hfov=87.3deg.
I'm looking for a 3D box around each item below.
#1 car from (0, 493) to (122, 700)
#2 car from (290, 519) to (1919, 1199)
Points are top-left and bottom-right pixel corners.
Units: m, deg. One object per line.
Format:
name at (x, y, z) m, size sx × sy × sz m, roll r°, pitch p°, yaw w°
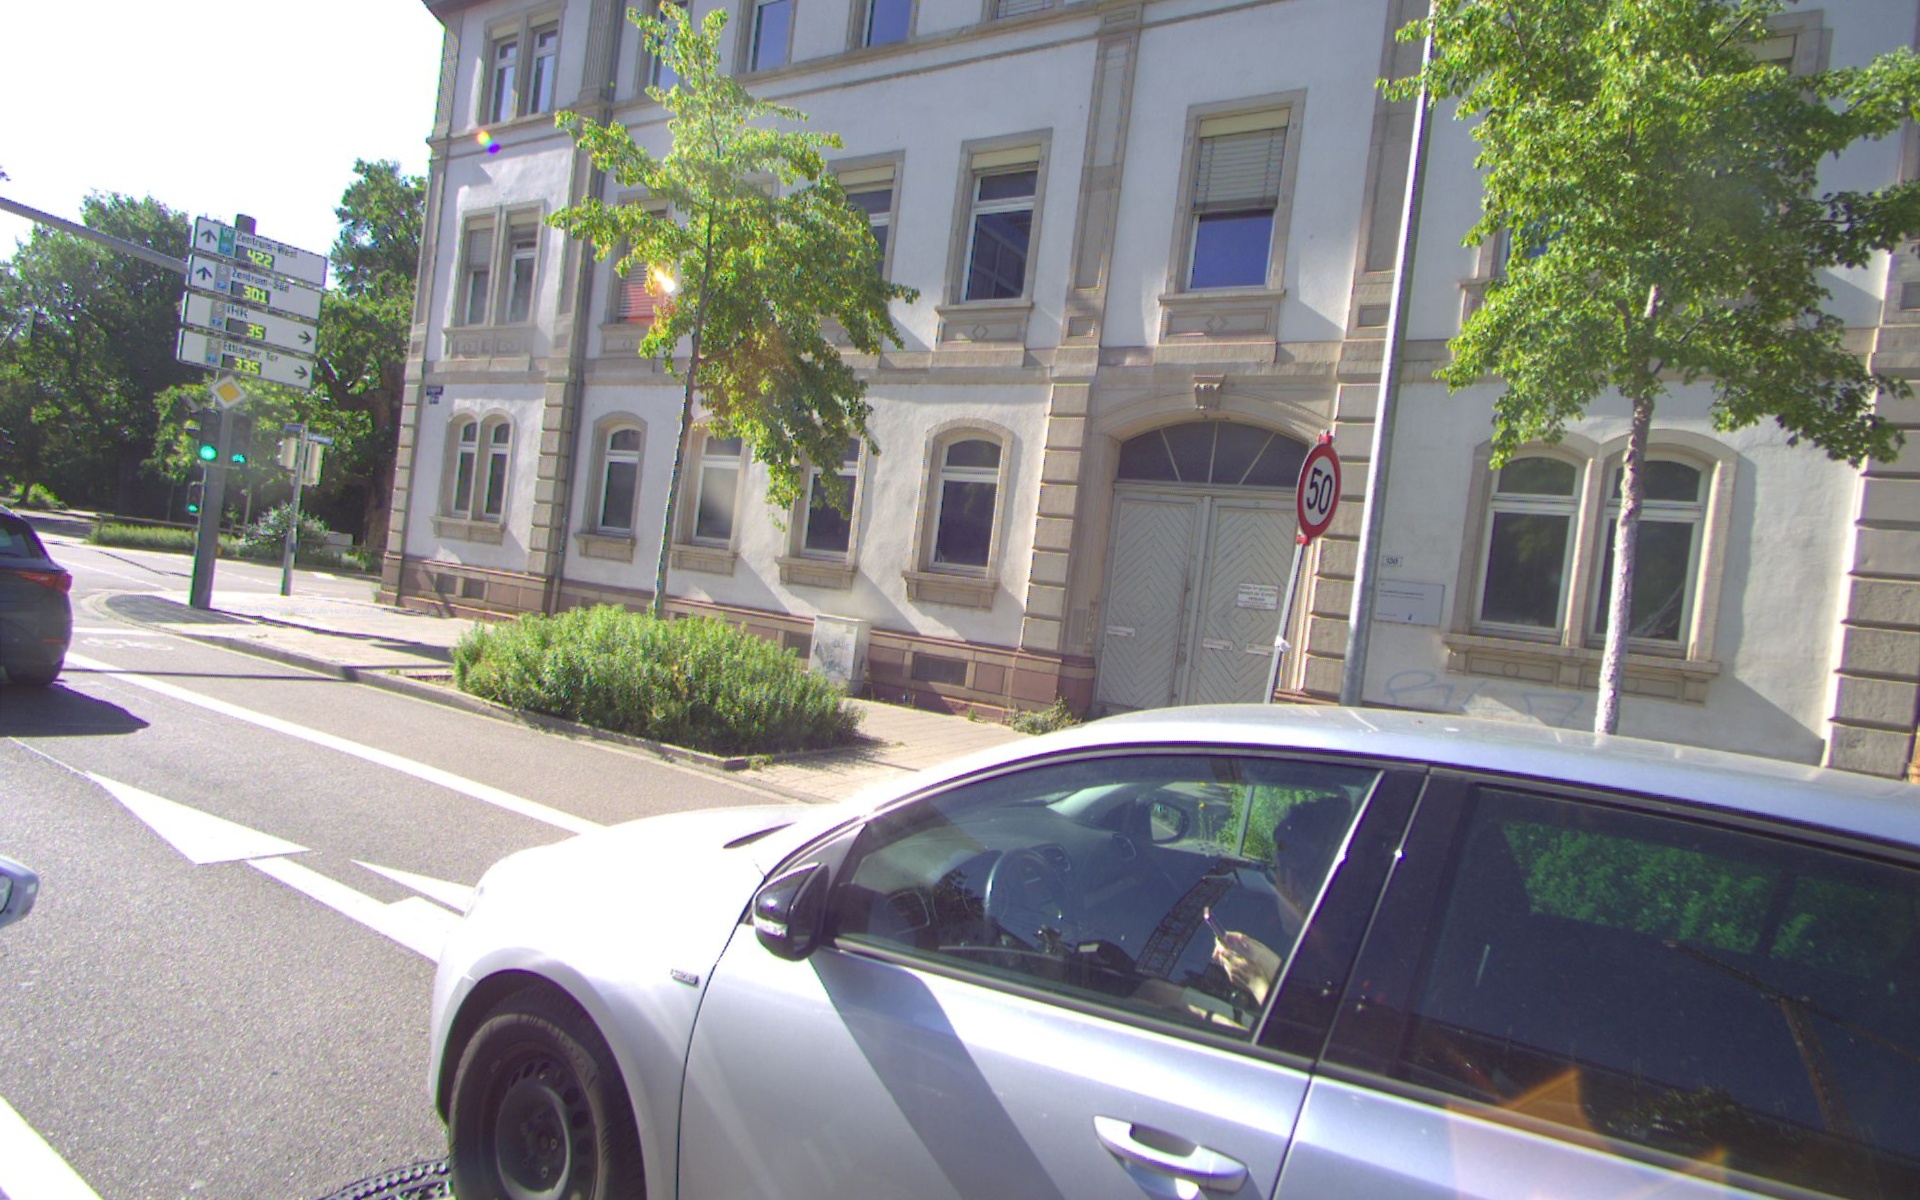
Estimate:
car at (-8.492, -0.240, 7.768) m, size 3.784 × 1.444 × 1.796 m, roll 7°, pitch -2°, yaw 30°
car at (0.488, 0.854, 2.278) m, size 3.938 × 1.545 × 1.753 m, roll 7°, pitch -1°, yaw 32°
